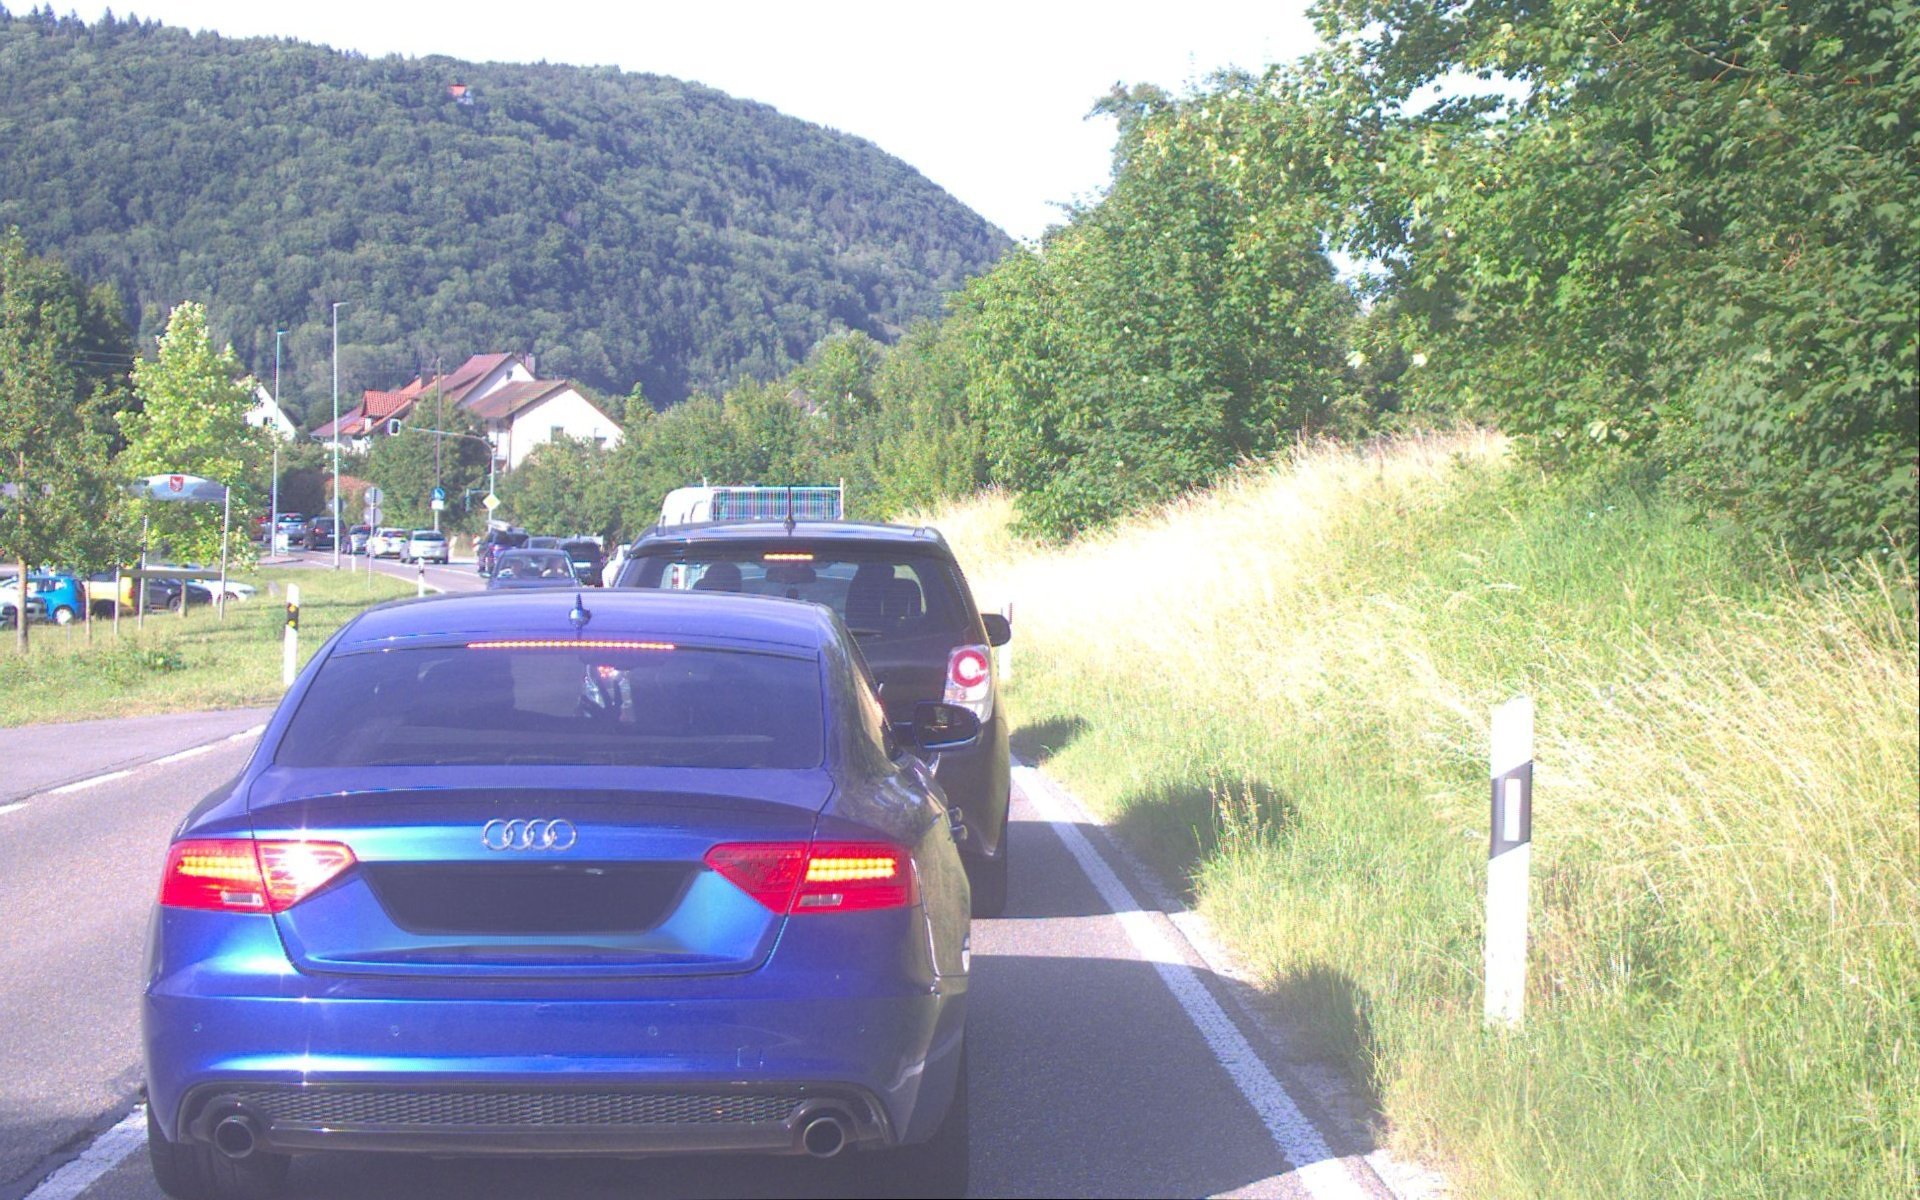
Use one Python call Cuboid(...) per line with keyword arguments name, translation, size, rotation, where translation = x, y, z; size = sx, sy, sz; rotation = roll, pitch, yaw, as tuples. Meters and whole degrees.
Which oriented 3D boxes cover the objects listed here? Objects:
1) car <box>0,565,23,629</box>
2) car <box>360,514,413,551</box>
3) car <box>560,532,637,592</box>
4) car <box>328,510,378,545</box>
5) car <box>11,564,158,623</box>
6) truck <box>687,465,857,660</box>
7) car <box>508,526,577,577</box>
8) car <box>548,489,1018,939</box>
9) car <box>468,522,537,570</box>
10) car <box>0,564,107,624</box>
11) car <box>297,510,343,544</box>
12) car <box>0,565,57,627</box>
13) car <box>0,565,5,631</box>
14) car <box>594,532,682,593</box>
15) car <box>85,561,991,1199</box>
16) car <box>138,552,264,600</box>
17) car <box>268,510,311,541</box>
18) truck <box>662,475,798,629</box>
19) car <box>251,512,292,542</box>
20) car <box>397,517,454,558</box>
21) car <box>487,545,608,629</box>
Cuboid(name="car", translation=(-27.522, -0.111, 92.710), size=(3.986, 1.705, 2.000), rotation=(1, 0, -3))
Cuboid(name="car", translation=(-26.924, -3.167, 161.318), size=(1.845, 1.706, 4.001), rotation=(1, 1, -19))
Cuboid(name="car", translation=(-10.543, -1.106, 100.042), size=(1.845, 1.706, 4.001), rotation=(1, 1, -11))
Cuboid(name="car", translation=(-30.384, -3.620, 172.017), size=(1.845, 1.706, 4.001), rotation=(1, 1, -19))
Cuboid(name="car", translation=(-26.558, -0.206, 104.365), size=(3.986, 1.705, 2.000), rotation=(1, 0, -3))
Cuboid(name="truck", translation=(-2.678, -0.531, 48.722), size=(2.229, 2.561, 6.104), rotation=(1, 1, -3))
Cuboid(name="car", translation=(-14.459, -1.667, 118.923), size=(1.845, 1.706, 4.001), rotation=(1, 1, -14))
Cuboid(name="car", translation=(-0.662, 0.414, 14.919), size=(1.754, 1.675, 3.846), rotation=(1, 0, 0))
Cuboid(name="car", translation=(-17.053, -2.008, 128.053), size=(1.845, 1.706, 4.001), rotation=(1, 1, -18))
Cuboid(name="car", translation=(-27.484, -0.195, 101.782), size=(3.986, 1.705, 2.000), rotation=(1, 0, -3))
Cuboid(name="car", translation=(-34.025, -3.872, 182.760), size=(1.845, 1.706, 4.001), rotation=(1, 1, -19))
Cuboid(name="car", translation=(-27.465, -0.141, 95.994), size=(3.986, 1.705, 2.000), rotation=(1, 0, -3))
Cuboid(name="car", translation=(-26.994, -0.070, 89.054), size=(3.986, 1.705, 2.000), rotation=(1, 0, -3))
Cuboid(name="car", translation=(-8.165, -0.952, 86.981), size=(1.845, 1.477, 4.001), rotation=(1, 1, -11))
Cuboid(name="car", translation=(-0.819, 0.629, 8.638), size=(1.754, 1.425, 3.846), rotation=(1, 1, 0))
Cuboid(name="car", translation=(-26.203, -0.838, 118.818), size=(3.986, 1.573, 1.753), rotation=(1, 0, -3))
Cuboid(name="car", translation=(-37.758, -4.198, 193.425), size=(1.845, 1.706, 4.001), rotation=(1, 1, -19))
Cuboid(name="truck", translation=(-4.180, -0.844, 61.460), size=(2.229, 2.561, 6.709), rotation=(1, 1, -5))
Cuboid(name="car", translation=(-40.536, -4.269, 202.382), size=(1.845, 1.706, 4.001), rotation=(1, 1, -19))
Cuboid(name="car", translation=(-23.439, -2.728, 150.691), size=(1.845, 1.706, 4.001), rotation=(1, 1, -18))
Cuboid(name="car", translation=(-7.292, -0.243, 61.095), size=(1.704, 1.425, 4.051), rotation=(1, 1, -1))
